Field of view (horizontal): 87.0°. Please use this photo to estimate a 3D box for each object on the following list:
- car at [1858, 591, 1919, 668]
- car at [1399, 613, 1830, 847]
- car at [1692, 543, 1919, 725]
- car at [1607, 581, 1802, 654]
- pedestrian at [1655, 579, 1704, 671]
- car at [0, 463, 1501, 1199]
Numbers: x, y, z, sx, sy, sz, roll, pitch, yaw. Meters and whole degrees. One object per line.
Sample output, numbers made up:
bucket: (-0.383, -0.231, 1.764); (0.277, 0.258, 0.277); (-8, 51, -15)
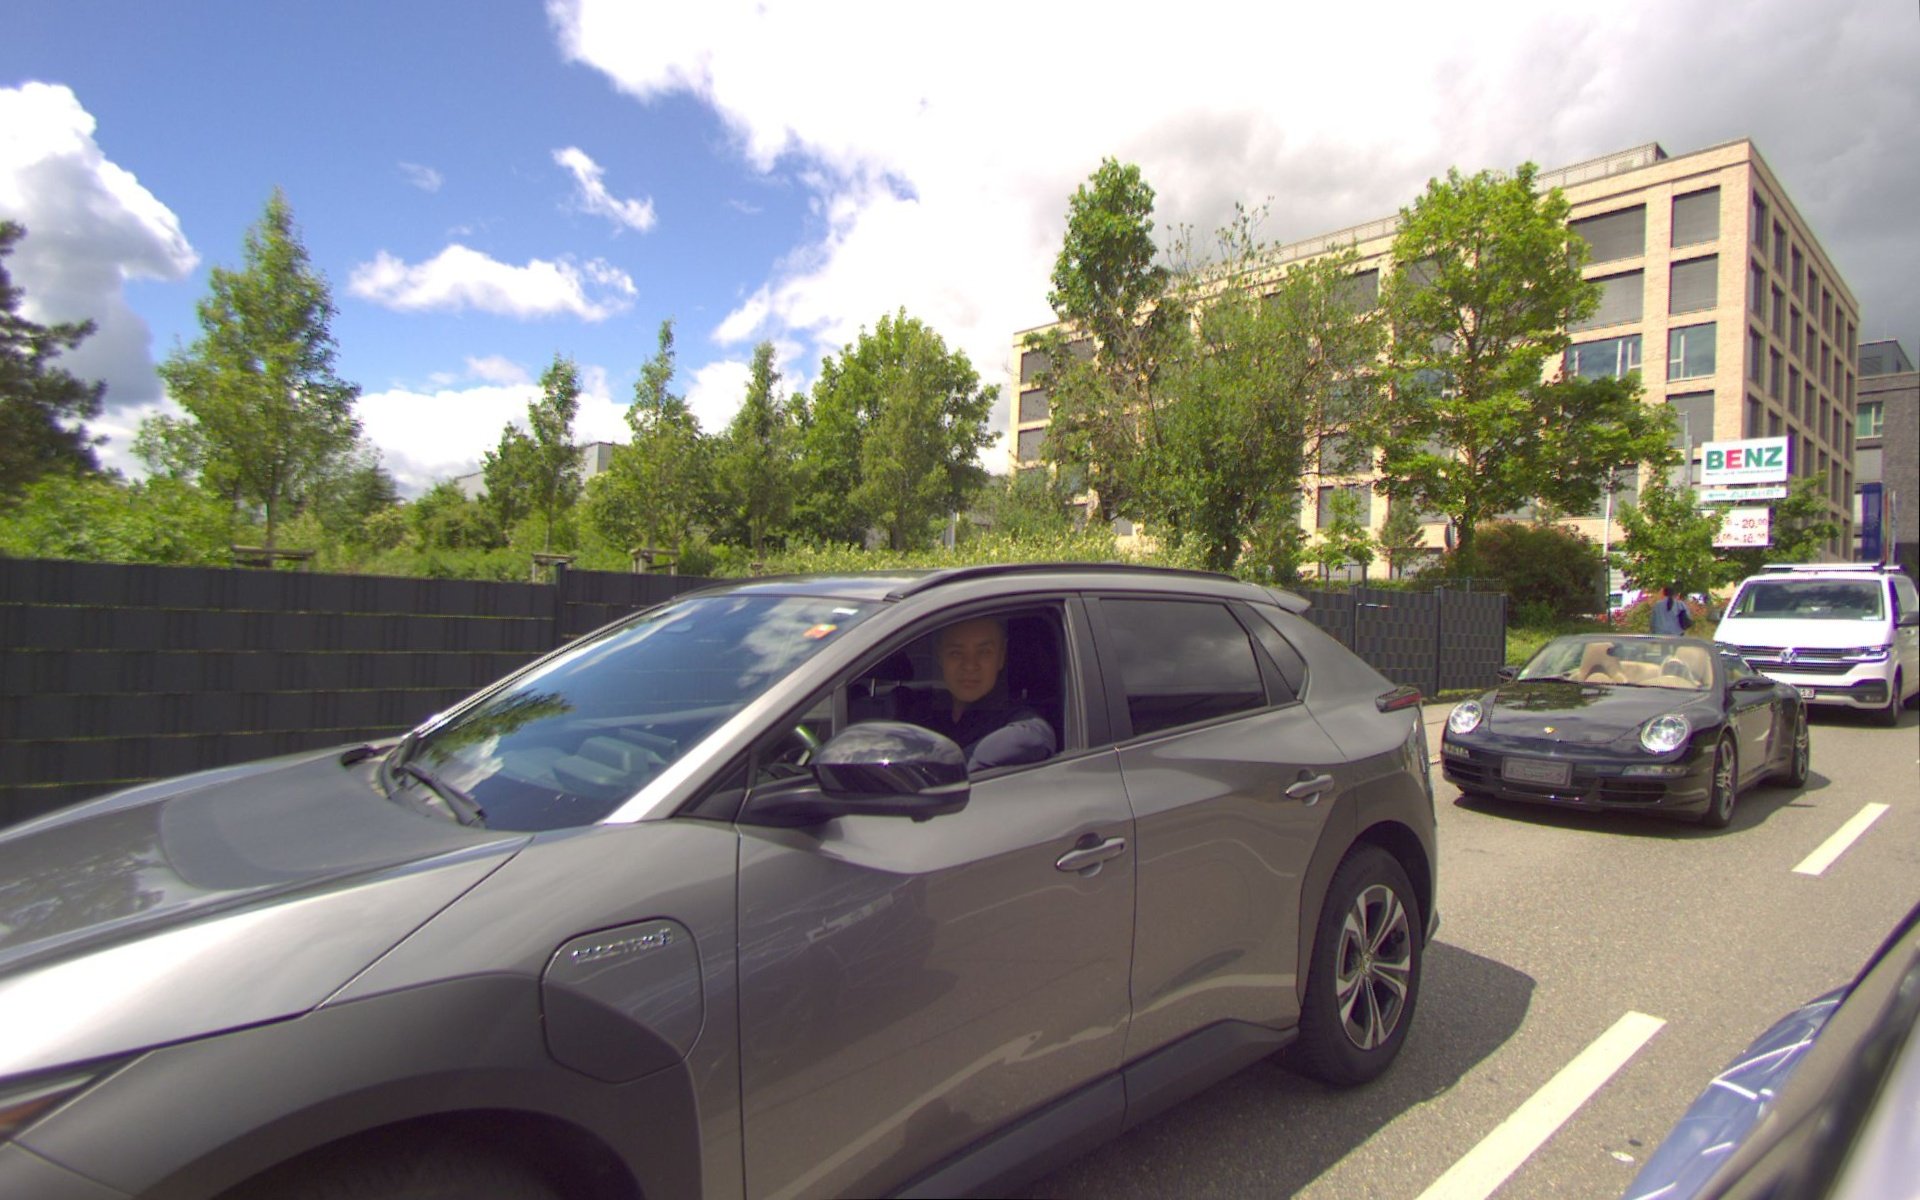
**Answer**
car: (20.246, 0.586, 21.066); (3.930, 1.481, 1.817); (0, 2, -41)
car: (5.278, 0.794, 7.970); (3.967, 1.310, 1.823); (0, 0, -41)
car: (11.943, 0.376, 13.868); (4.677, 2.075, 2.087); (0, 0, -41)
car: (19.982, 0.415, 27.265); (1.793, 1.754, 3.991); (0, 2, -44)
pedestrian: (13.428, 0.448, 18.885); (0.435, 1.678, 0.631); (0, 1, -42)
car: (-0.370, 0.660, 2.950); (4.501, 1.649, 1.997); (0, 1, -42)
